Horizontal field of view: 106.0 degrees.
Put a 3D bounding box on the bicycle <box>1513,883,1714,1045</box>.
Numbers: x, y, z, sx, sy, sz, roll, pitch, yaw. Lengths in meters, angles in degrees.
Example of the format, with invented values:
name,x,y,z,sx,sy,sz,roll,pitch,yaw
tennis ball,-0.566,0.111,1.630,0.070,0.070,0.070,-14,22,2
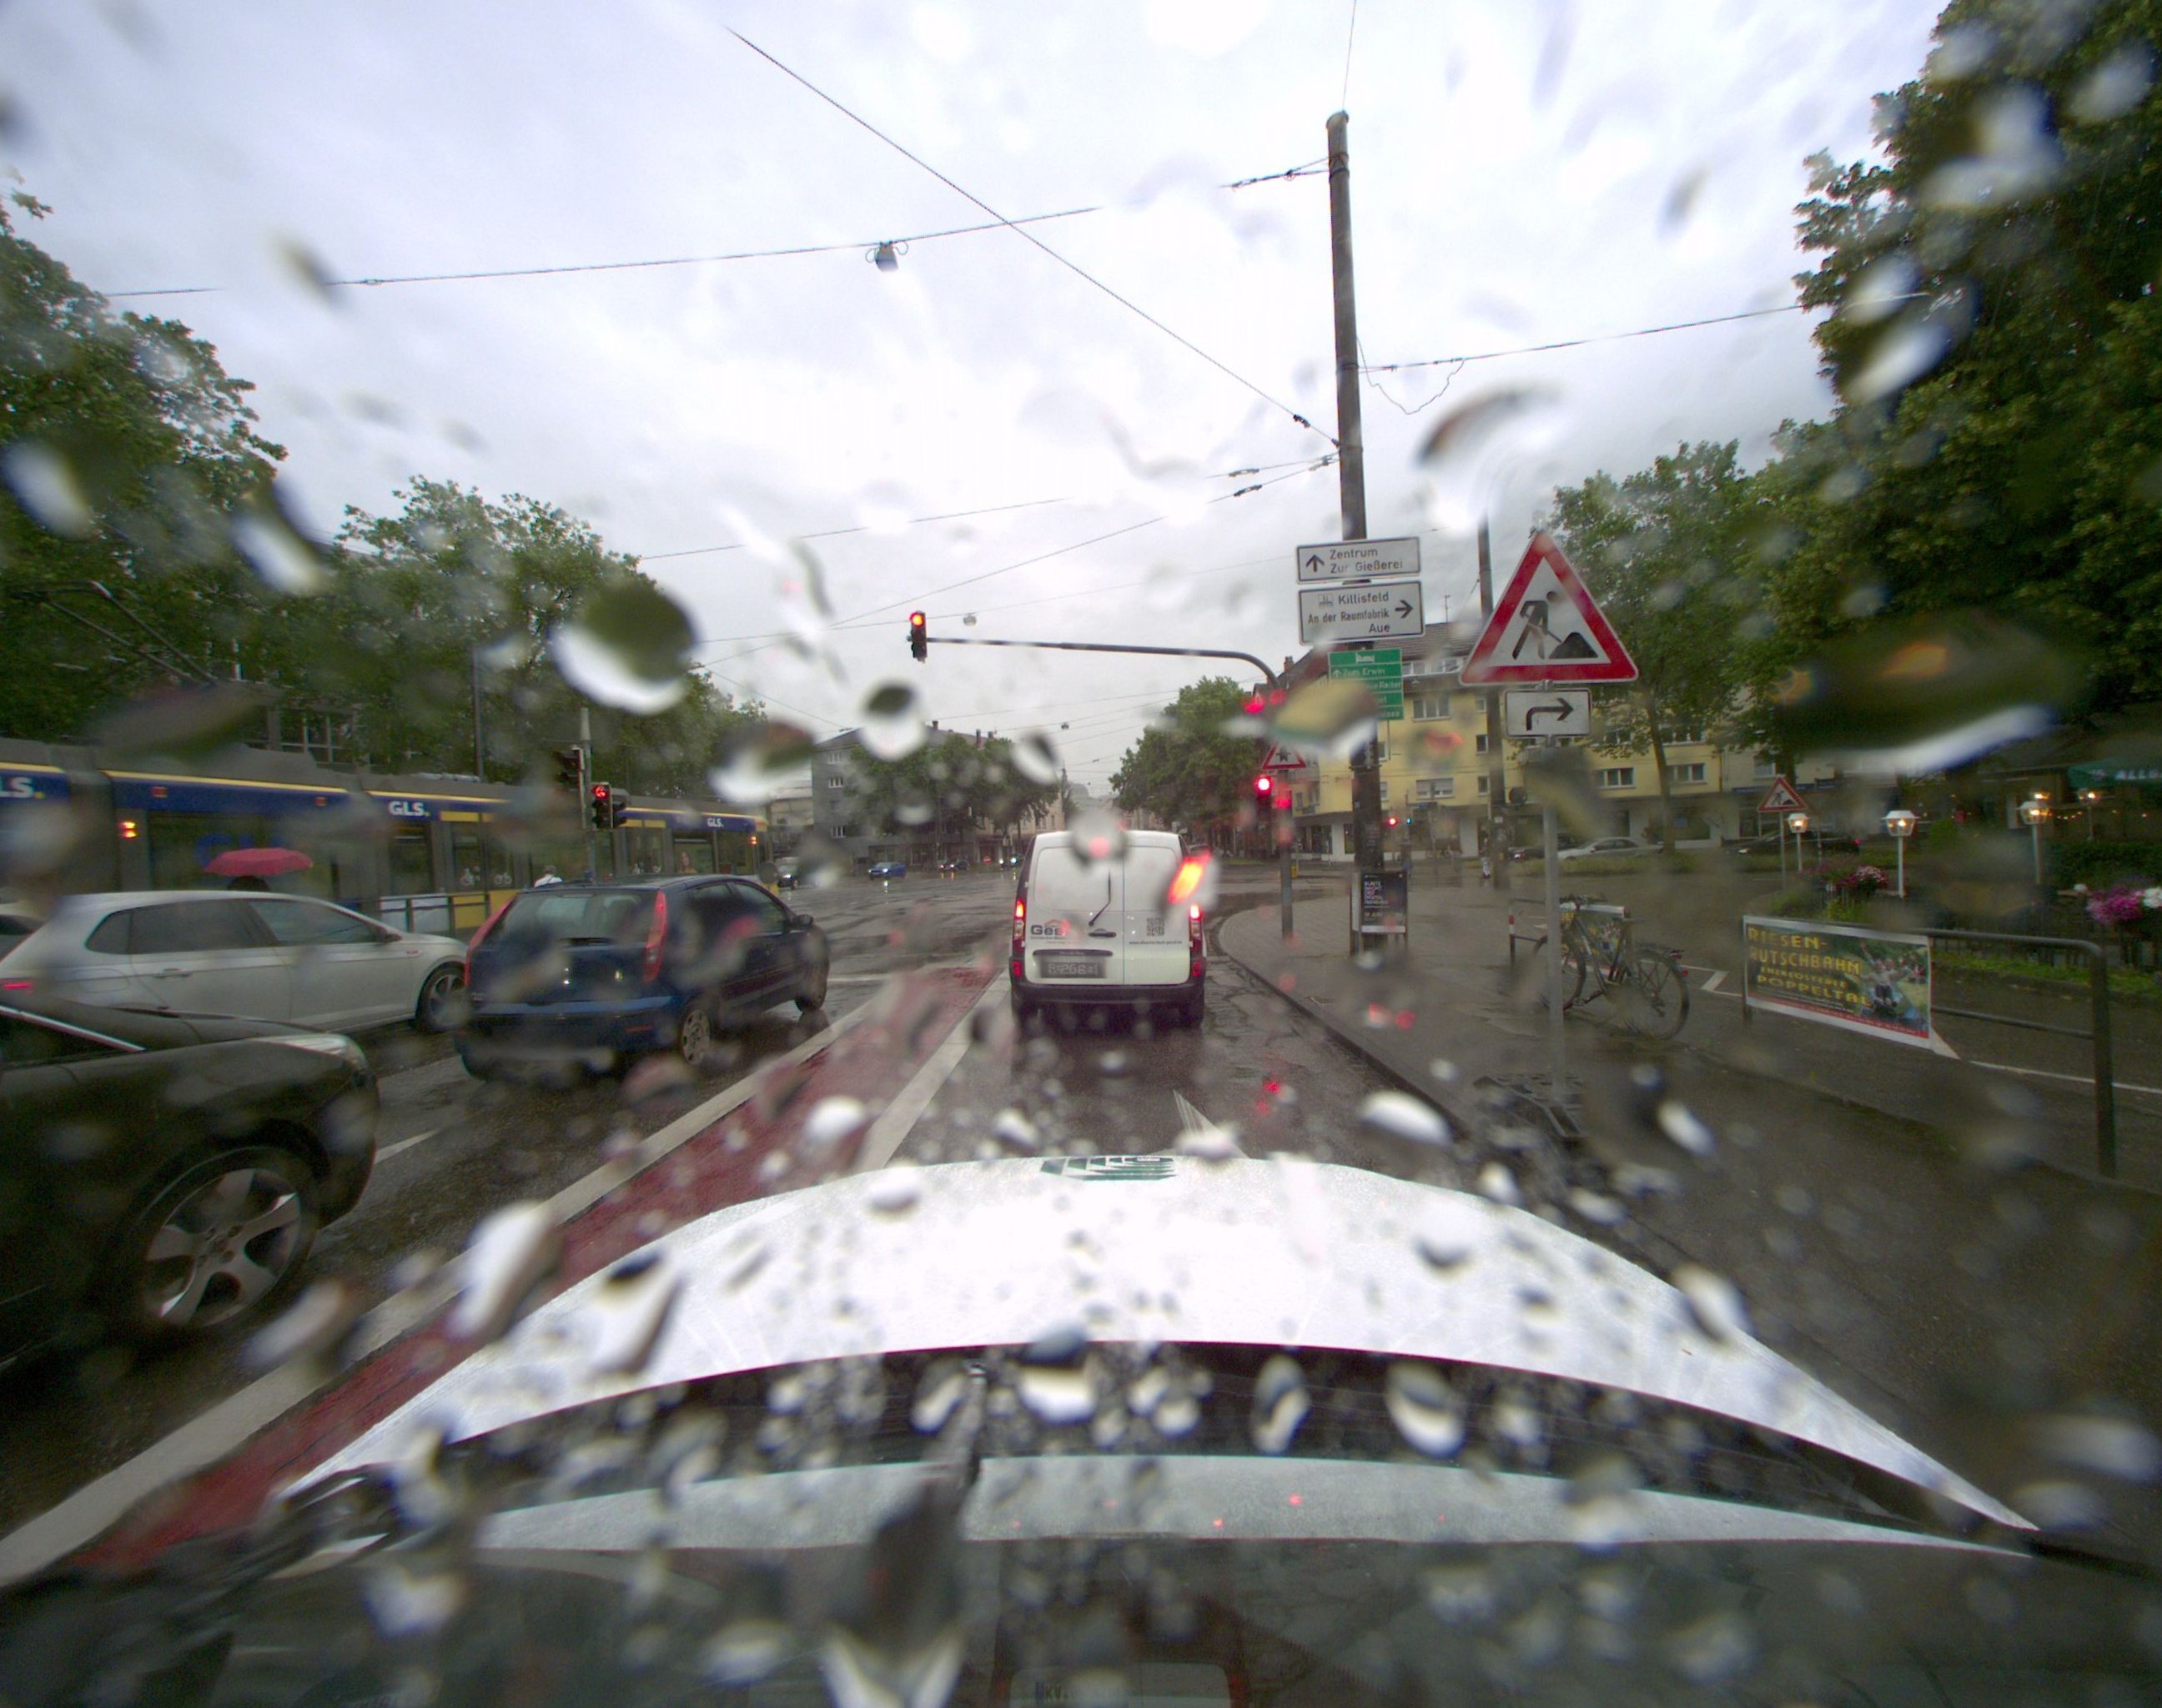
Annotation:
name,x,y,z,sx,sy,sz,roll,pitch,yaw
bicycle,4.486,0.849,7.050,0.512,1.107,2.018,1,0,3

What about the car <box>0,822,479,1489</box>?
name,x,y,z,sx,sy,sz,roll,pitch,yaw
car,-3.648,0.769,1.522,1.827,1.668,4.174,-1,0,2

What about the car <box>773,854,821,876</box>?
name,x,y,z,sx,sy,sz,roll,pitch,yaw
car,-30.787,1.161,88.430,1.975,2.198,4.816,0,2,25

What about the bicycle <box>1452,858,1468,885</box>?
name,x,y,z,sx,sy,sz,roll,pitch,yaw
bicycle,15.770,0.720,33.917,0.455,1.027,1.912,-1,1,22

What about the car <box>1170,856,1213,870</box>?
name,x,y,z,sx,sy,sz,roll,pitch,yaw
car,9.566,0.764,70.582,3.437,1.130,1.468,-1,0,-6

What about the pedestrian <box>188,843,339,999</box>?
name,x,y,z,sx,sy,sz,roll,pitch,yaw
pedestrian,-9.838,0.772,9.844,0.763,1.746,0.899,-4,1,1

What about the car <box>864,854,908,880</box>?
name,x,y,z,sx,sy,sz,roll,pitch,yaw
car,-15.458,0.996,64.728,1.981,2.013,4.011,-1,0,10

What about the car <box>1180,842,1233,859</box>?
name,x,y,z,sx,sy,sz,roll,pitch,yaw
car,10.575,-0.310,68.864,4.160,1.339,1.518,-2,1,-6

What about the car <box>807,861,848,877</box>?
name,x,y,z,sx,sy,sz,roll,pitch,yaw
car,-27.529,1.611,88.489,1.935,1.496,4.025,-1,1,29

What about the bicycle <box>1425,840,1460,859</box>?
name,x,y,z,sx,sy,sz,roll,pitch,yaw
bicycle,24.327,-0.293,54.862,2.085,1.261,0.534,-1,1,16

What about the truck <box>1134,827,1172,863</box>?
name,x,y,z,sx,sy,sz,roll,pitch,yaw
truck,10.971,-1.250,121.878,3.445,5.087,15.363,-1,0,13

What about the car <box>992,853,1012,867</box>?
name,x,y,z,sx,sy,sz,roll,pitch,yaw
car,-8.971,0.635,93.084,1.777,1.552,4.002,-1,0,2

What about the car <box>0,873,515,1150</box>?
name,x,y,z,sx,sy,sz,roll,pitch,yaw
car,-6.733,0.953,6.545,1.623,1.494,3.783,-1,0,2

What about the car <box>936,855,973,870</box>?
name,x,y,z,sx,sy,sz,roll,pitch,yaw
car,-12.361,0.819,79.681,1.935,1.239,4.020,-1,1,19

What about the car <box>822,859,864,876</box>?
name,x,y,z,sx,sy,sz,roll,pitch,yaw
car,-25.437,1.439,87.269,1.975,1.530,4.025,-1,1,29

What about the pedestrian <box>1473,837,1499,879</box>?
name,x,y,z,sx,sy,sz,roll,pitch,yaw
pedestrian,16.167,0.164,32.520,0.896,1.669,1.026,-1,0,26

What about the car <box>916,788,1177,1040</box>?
name,x,y,z,sx,sy,sz,roll,pitch,yaw
car,-0.211,0.515,9.169,2.092,2.012,4.965,-2,-1,2

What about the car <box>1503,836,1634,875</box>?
name,x,y,z,sx,sy,sz,roll,pitch,yaw
car,22.855,0.113,38.376,4.902,1.643,2.007,-1,-3,14

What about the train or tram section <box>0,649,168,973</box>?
name,x,y,z,sx,sy,sz,roll,pitch,yaw
train or tram section,-13.642,-0.476,3.605,3.500,3.512,13.664,0,0,2

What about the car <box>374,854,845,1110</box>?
name,x,y,z,sx,sy,sz,roll,pitch,yaw
car,-3.519,0.809,7.022,1.720,1.578,3.822,-1,0,2

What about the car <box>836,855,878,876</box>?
name,x,y,z,sx,sy,sz,roll,pitch,yaw
car,-23.426,1.189,85.457,1.975,2.013,4.025,-1,0,29

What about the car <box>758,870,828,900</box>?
name,x,y,z,sx,sy,sz,roll,pitch,yaw
car,-17.715,1.878,50.330,1.935,1.607,4.020,-1,1,19

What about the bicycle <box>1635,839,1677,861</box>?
name,x,y,z,sx,sy,sz,roll,pitch,yaw
bicycle,26.692,-0.177,37.805,1.631,1.002,0.422,-1,0,2

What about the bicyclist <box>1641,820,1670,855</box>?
name,x,y,z,sx,sy,sz,roll,pitch,yaw
bicyclist,26.671,-0.747,37.810,0.810,1.615,0.711,-1,0,2

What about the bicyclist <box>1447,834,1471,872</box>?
name,x,y,z,sx,sy,sz,roll,pitch,yaw
bicyclist,15.771,-0.043,33.965,0.870,1.583,0.865,-1,0,25

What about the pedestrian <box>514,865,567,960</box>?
name,x,y,z,sx,sy,sz,roll,pitch,yaw
pedestrian,-9.505,0.996,14.336,0.628,1.607,0.736,-1,-1,-23

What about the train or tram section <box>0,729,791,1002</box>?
name,x,y,z,sx,sy,sz,roll,pitch,yaw
train or tram section,-12.112,0.156,18.102,3.519,3.413,15.546,0,0,10

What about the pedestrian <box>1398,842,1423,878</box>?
name,x,y,z,sx,sy,sz,roll,pitch,yaw
pedestrian,14.151,0.262,34.995,0.820,1.534,0.616,-1,-1,-37

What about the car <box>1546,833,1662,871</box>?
name,x,y,z,sx,sy,sz,roll,pitch,yaw
car,22.591,-0.096,35.337,3.906,1.490,1.815,-1,1,17

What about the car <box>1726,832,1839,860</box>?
name,x,y,z,sx,sy,sz,roll,pitch,yaw
car,29.279,-0.317,34.037,3.511,1.082,1.248,-1,0,4
